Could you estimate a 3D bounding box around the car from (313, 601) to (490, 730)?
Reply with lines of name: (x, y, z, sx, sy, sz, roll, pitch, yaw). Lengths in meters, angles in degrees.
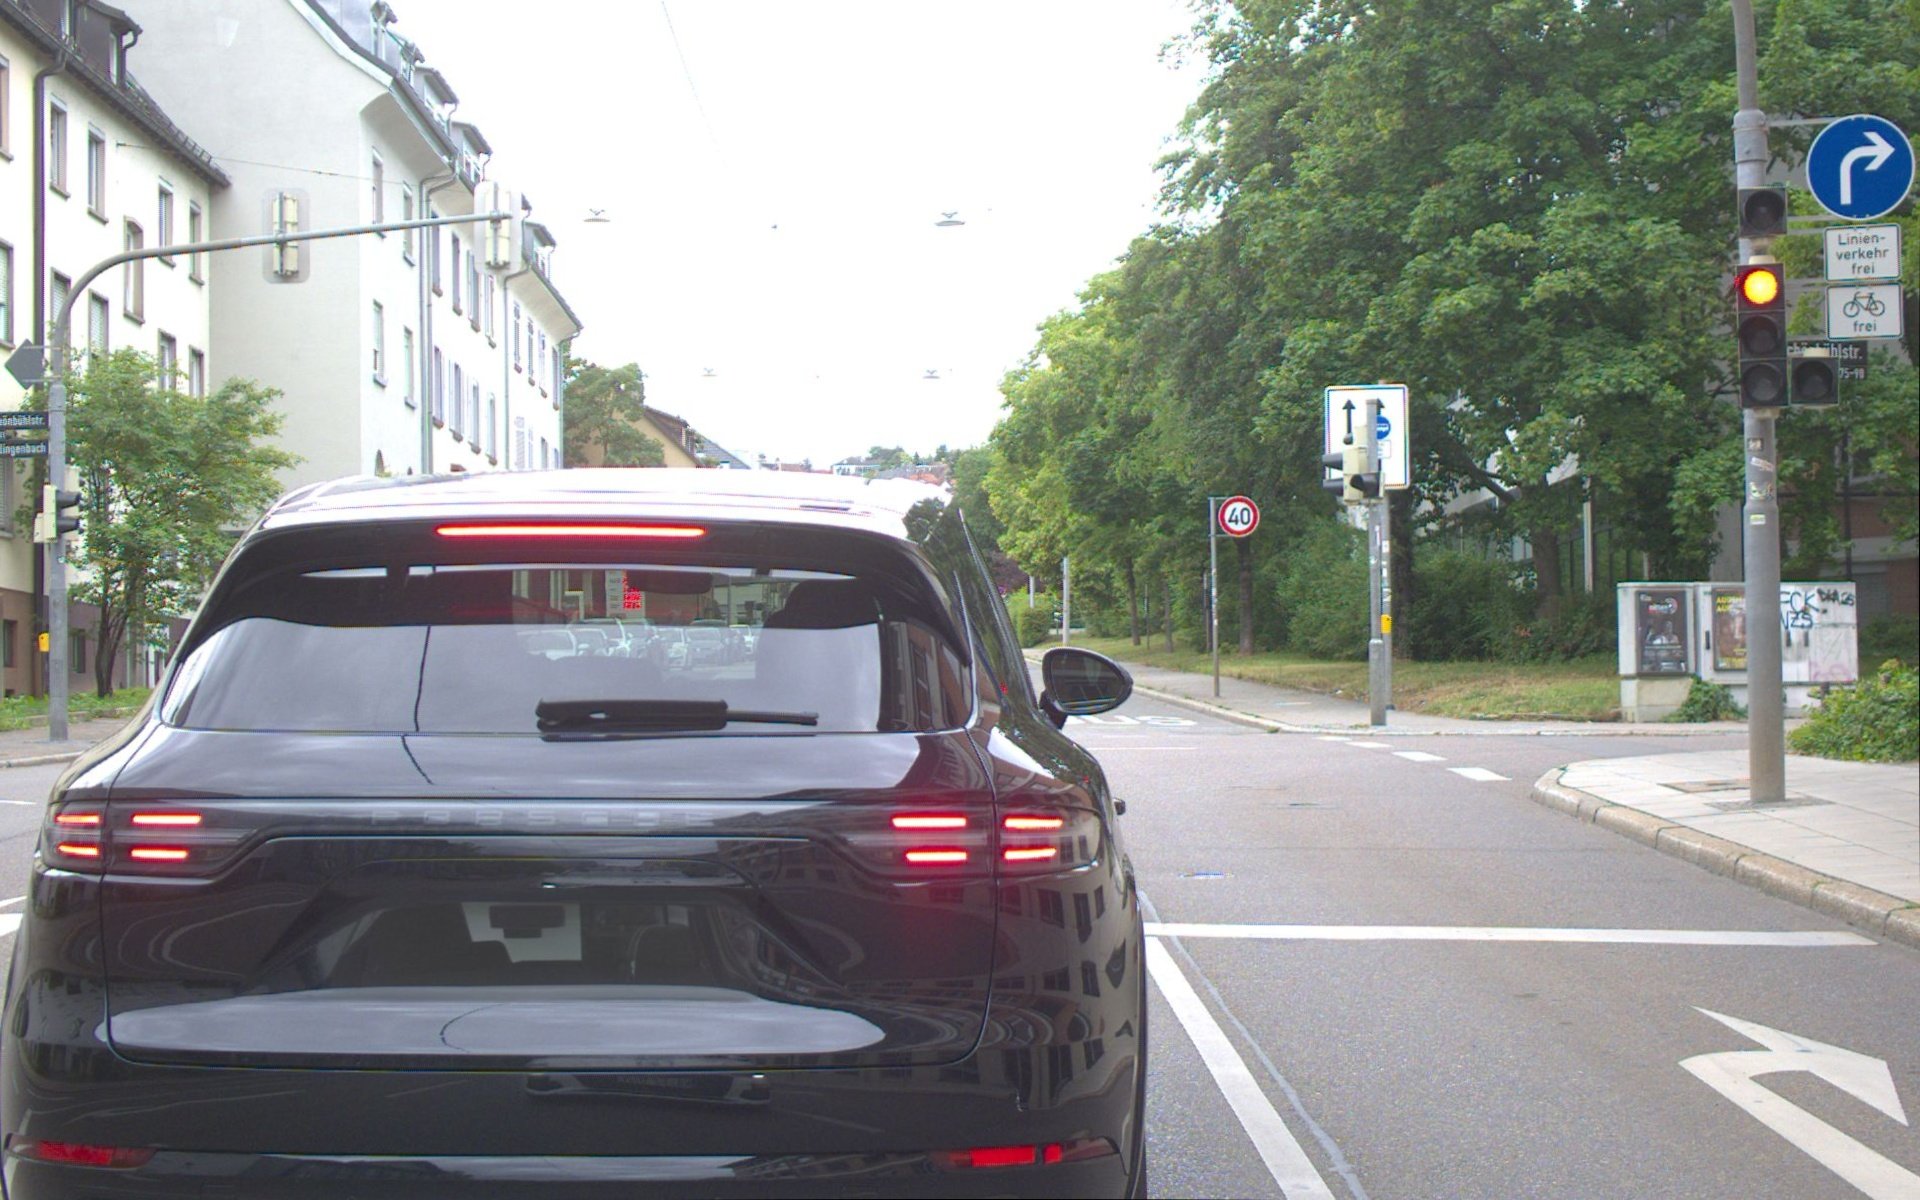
car: (-7.471, 0.849, 46.285, 1.664, 1.514, 3.740, -4, 1, 0)

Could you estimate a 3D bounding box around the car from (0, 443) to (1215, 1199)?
car: (-0.650, 0.599, 7.131, 1.993, 1.691, 4.000, 1, 1, -1)

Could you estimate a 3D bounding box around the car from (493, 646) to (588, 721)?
car: (-8.457, 1.663, 69.553, 1.669, 1.357, 4.001, 0, 1, -4)

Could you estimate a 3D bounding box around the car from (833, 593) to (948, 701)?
car: (-1.096, 0.696, 52.929, 1.688, 1.547, 3.889, 1, 1, -2)
